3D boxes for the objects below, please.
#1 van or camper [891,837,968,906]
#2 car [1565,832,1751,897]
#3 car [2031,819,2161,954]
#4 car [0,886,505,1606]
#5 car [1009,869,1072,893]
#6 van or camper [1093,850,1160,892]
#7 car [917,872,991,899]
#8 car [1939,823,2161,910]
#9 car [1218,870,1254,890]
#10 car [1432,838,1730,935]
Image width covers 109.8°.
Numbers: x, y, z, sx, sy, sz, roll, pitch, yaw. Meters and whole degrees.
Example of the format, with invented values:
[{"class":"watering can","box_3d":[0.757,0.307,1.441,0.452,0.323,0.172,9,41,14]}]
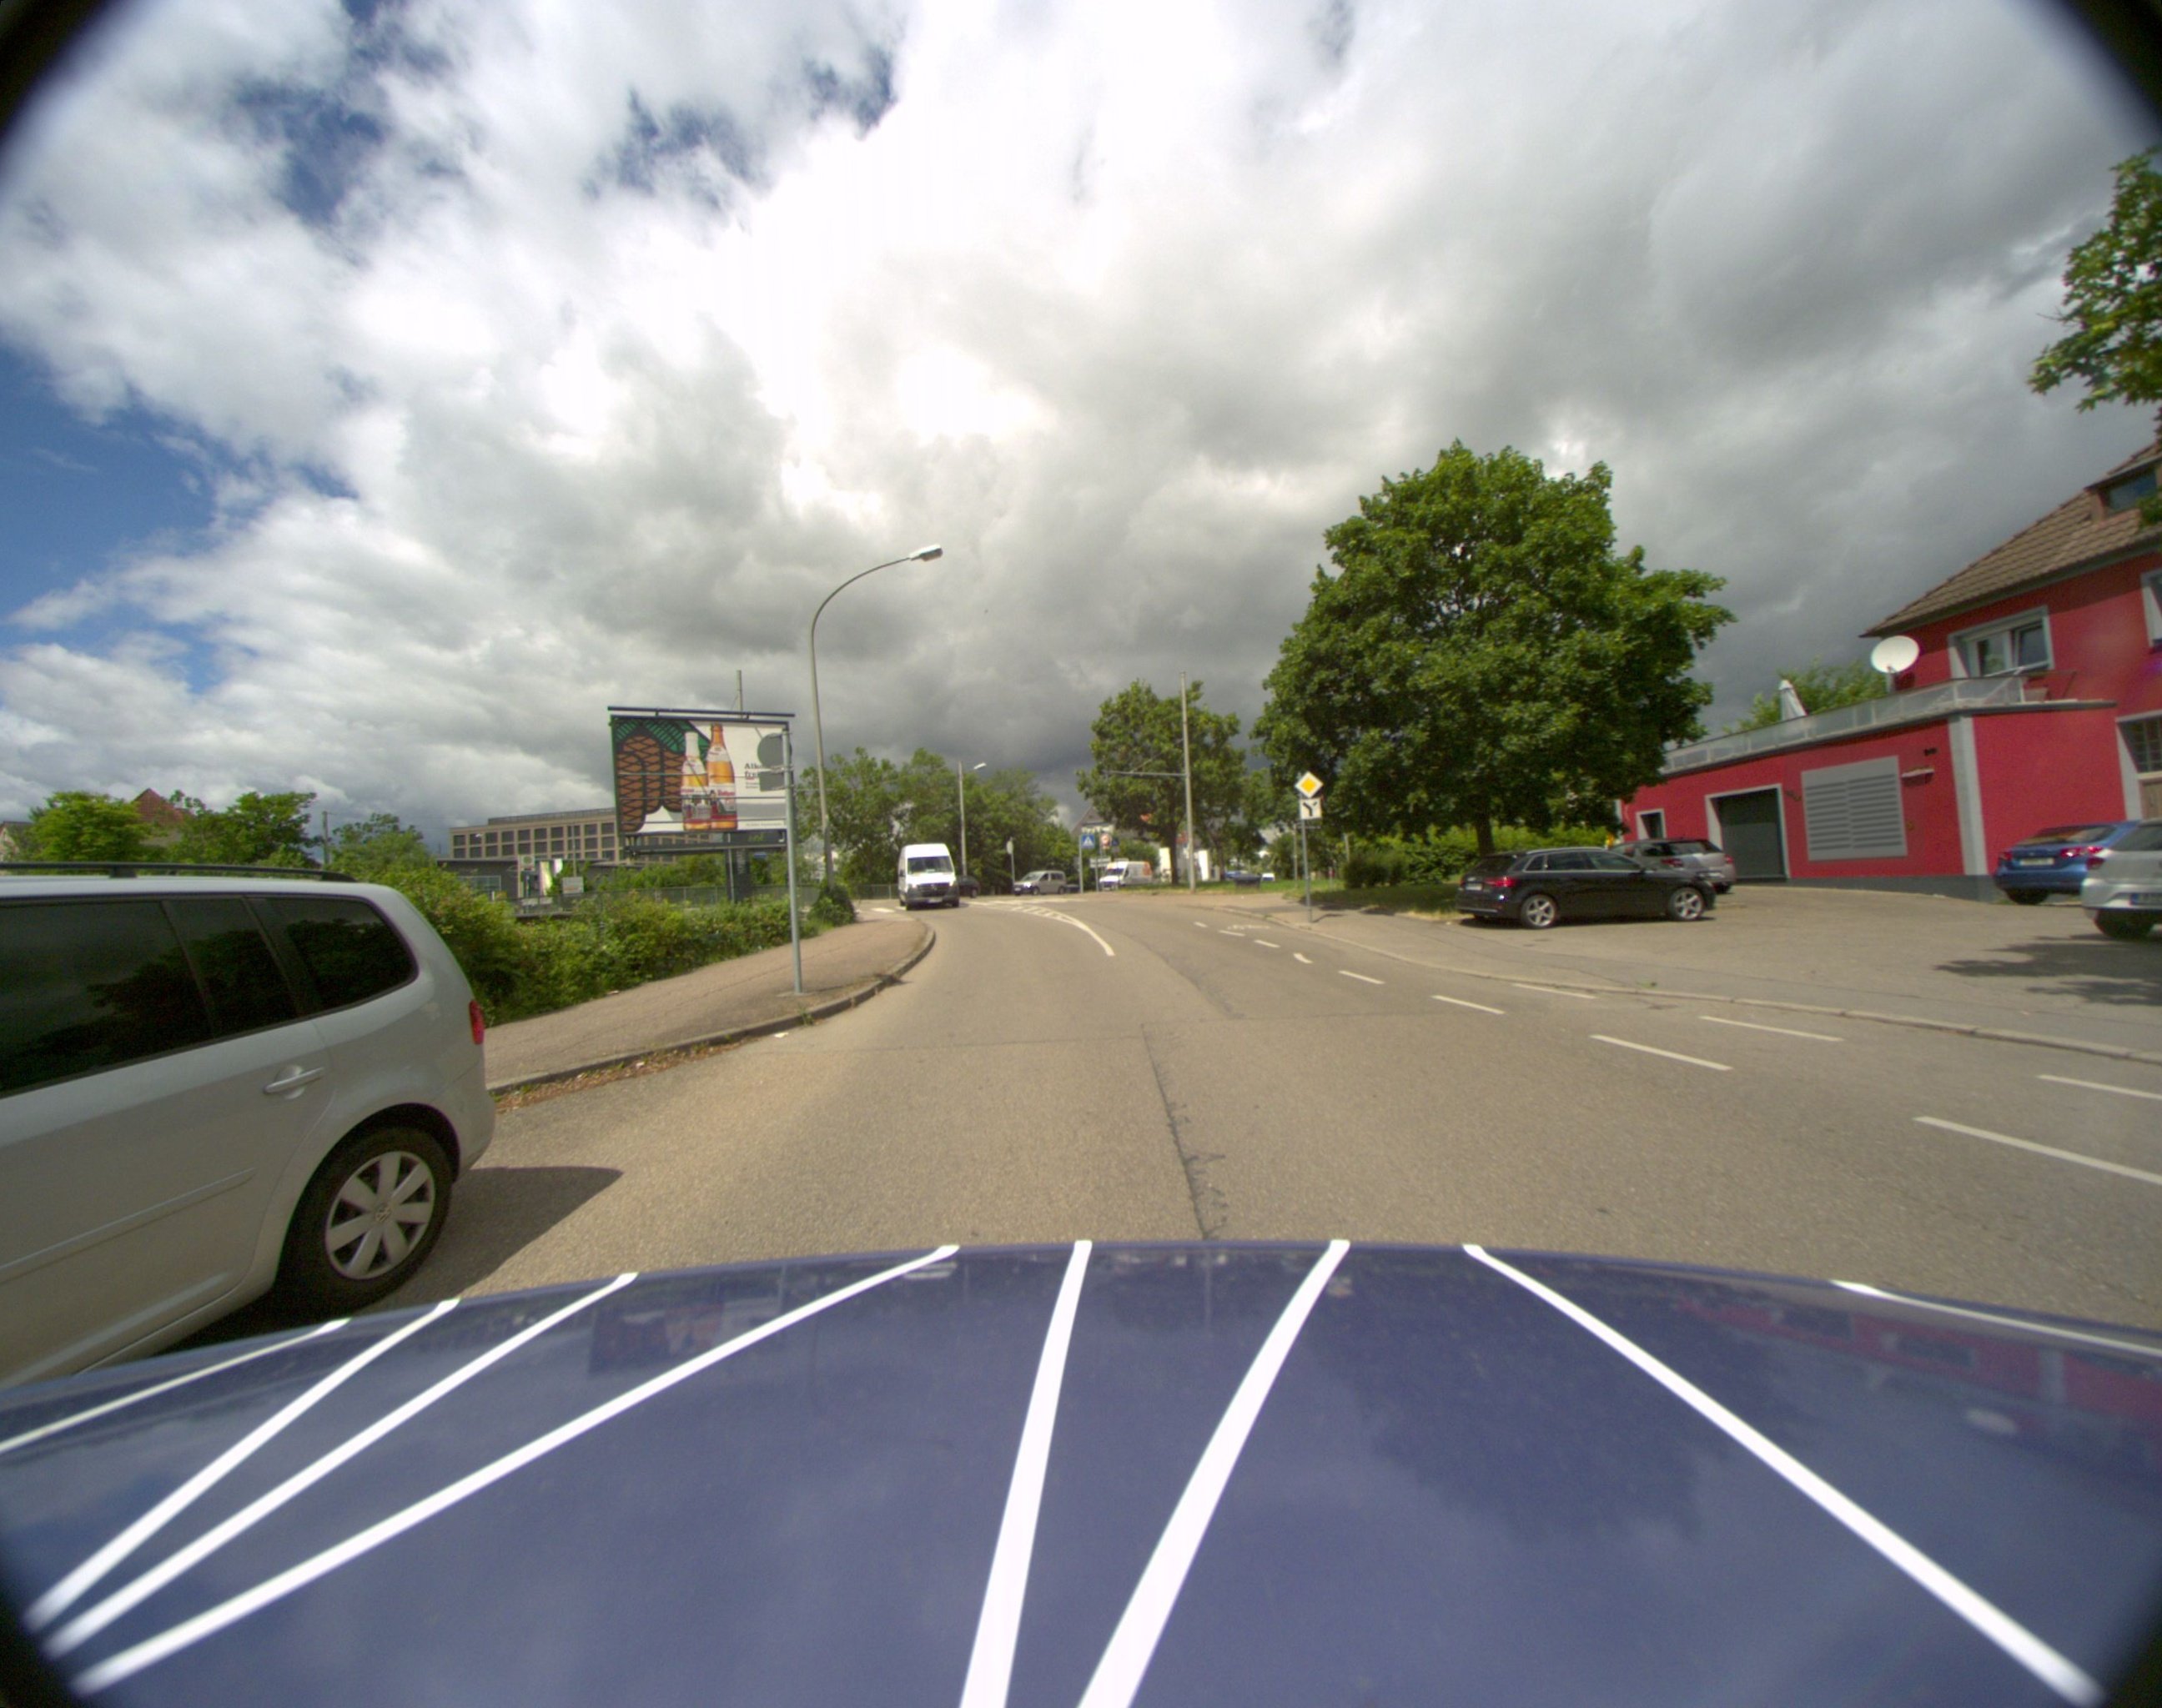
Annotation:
[{"class":"van or camper","box_3d":[-6.325,0.792,31.096,2.196,2.550,5.921,0,-3,-20]},{"class":"car","box_3d":[14.844,0.280,19.866,1.644,1.417,4.078,-4,-1,-1]},{"class":"car","box_3d":[13.162,0.257,8.078,3.930,1.396,1.876,-2,0,-4]},{"class":"car","box_3d":[-3.487,1.018,1.255,1.710,1.668,4.308,-4,0,0]},{"class":"car","box_3d":[-2.809,1.902,53.633,1.995,1.577,4.412,-5,-4,37]},{"class":"van or camper","box_3d":[3.951,1.542,63.410,2.266,2.975,8.347,-4,-6,27]},{"class":"car","box_3d":[-7.551,1.895,45.453,1.995,1.464,4.239,-5,-4,33]},{"class":"car","box_3d":[18.088,0.182,13.386,3.811,1.369,1.843,-2,-1,0]},{"class":"car","box_3d":[15.330,2.550,75.019,2.227,1.796,4.410,-4,-2,29]},{"class":"car","box_3d":[9.085,0.571,14.115,4.141,1.385,2.000,-4,-1,0]}]
